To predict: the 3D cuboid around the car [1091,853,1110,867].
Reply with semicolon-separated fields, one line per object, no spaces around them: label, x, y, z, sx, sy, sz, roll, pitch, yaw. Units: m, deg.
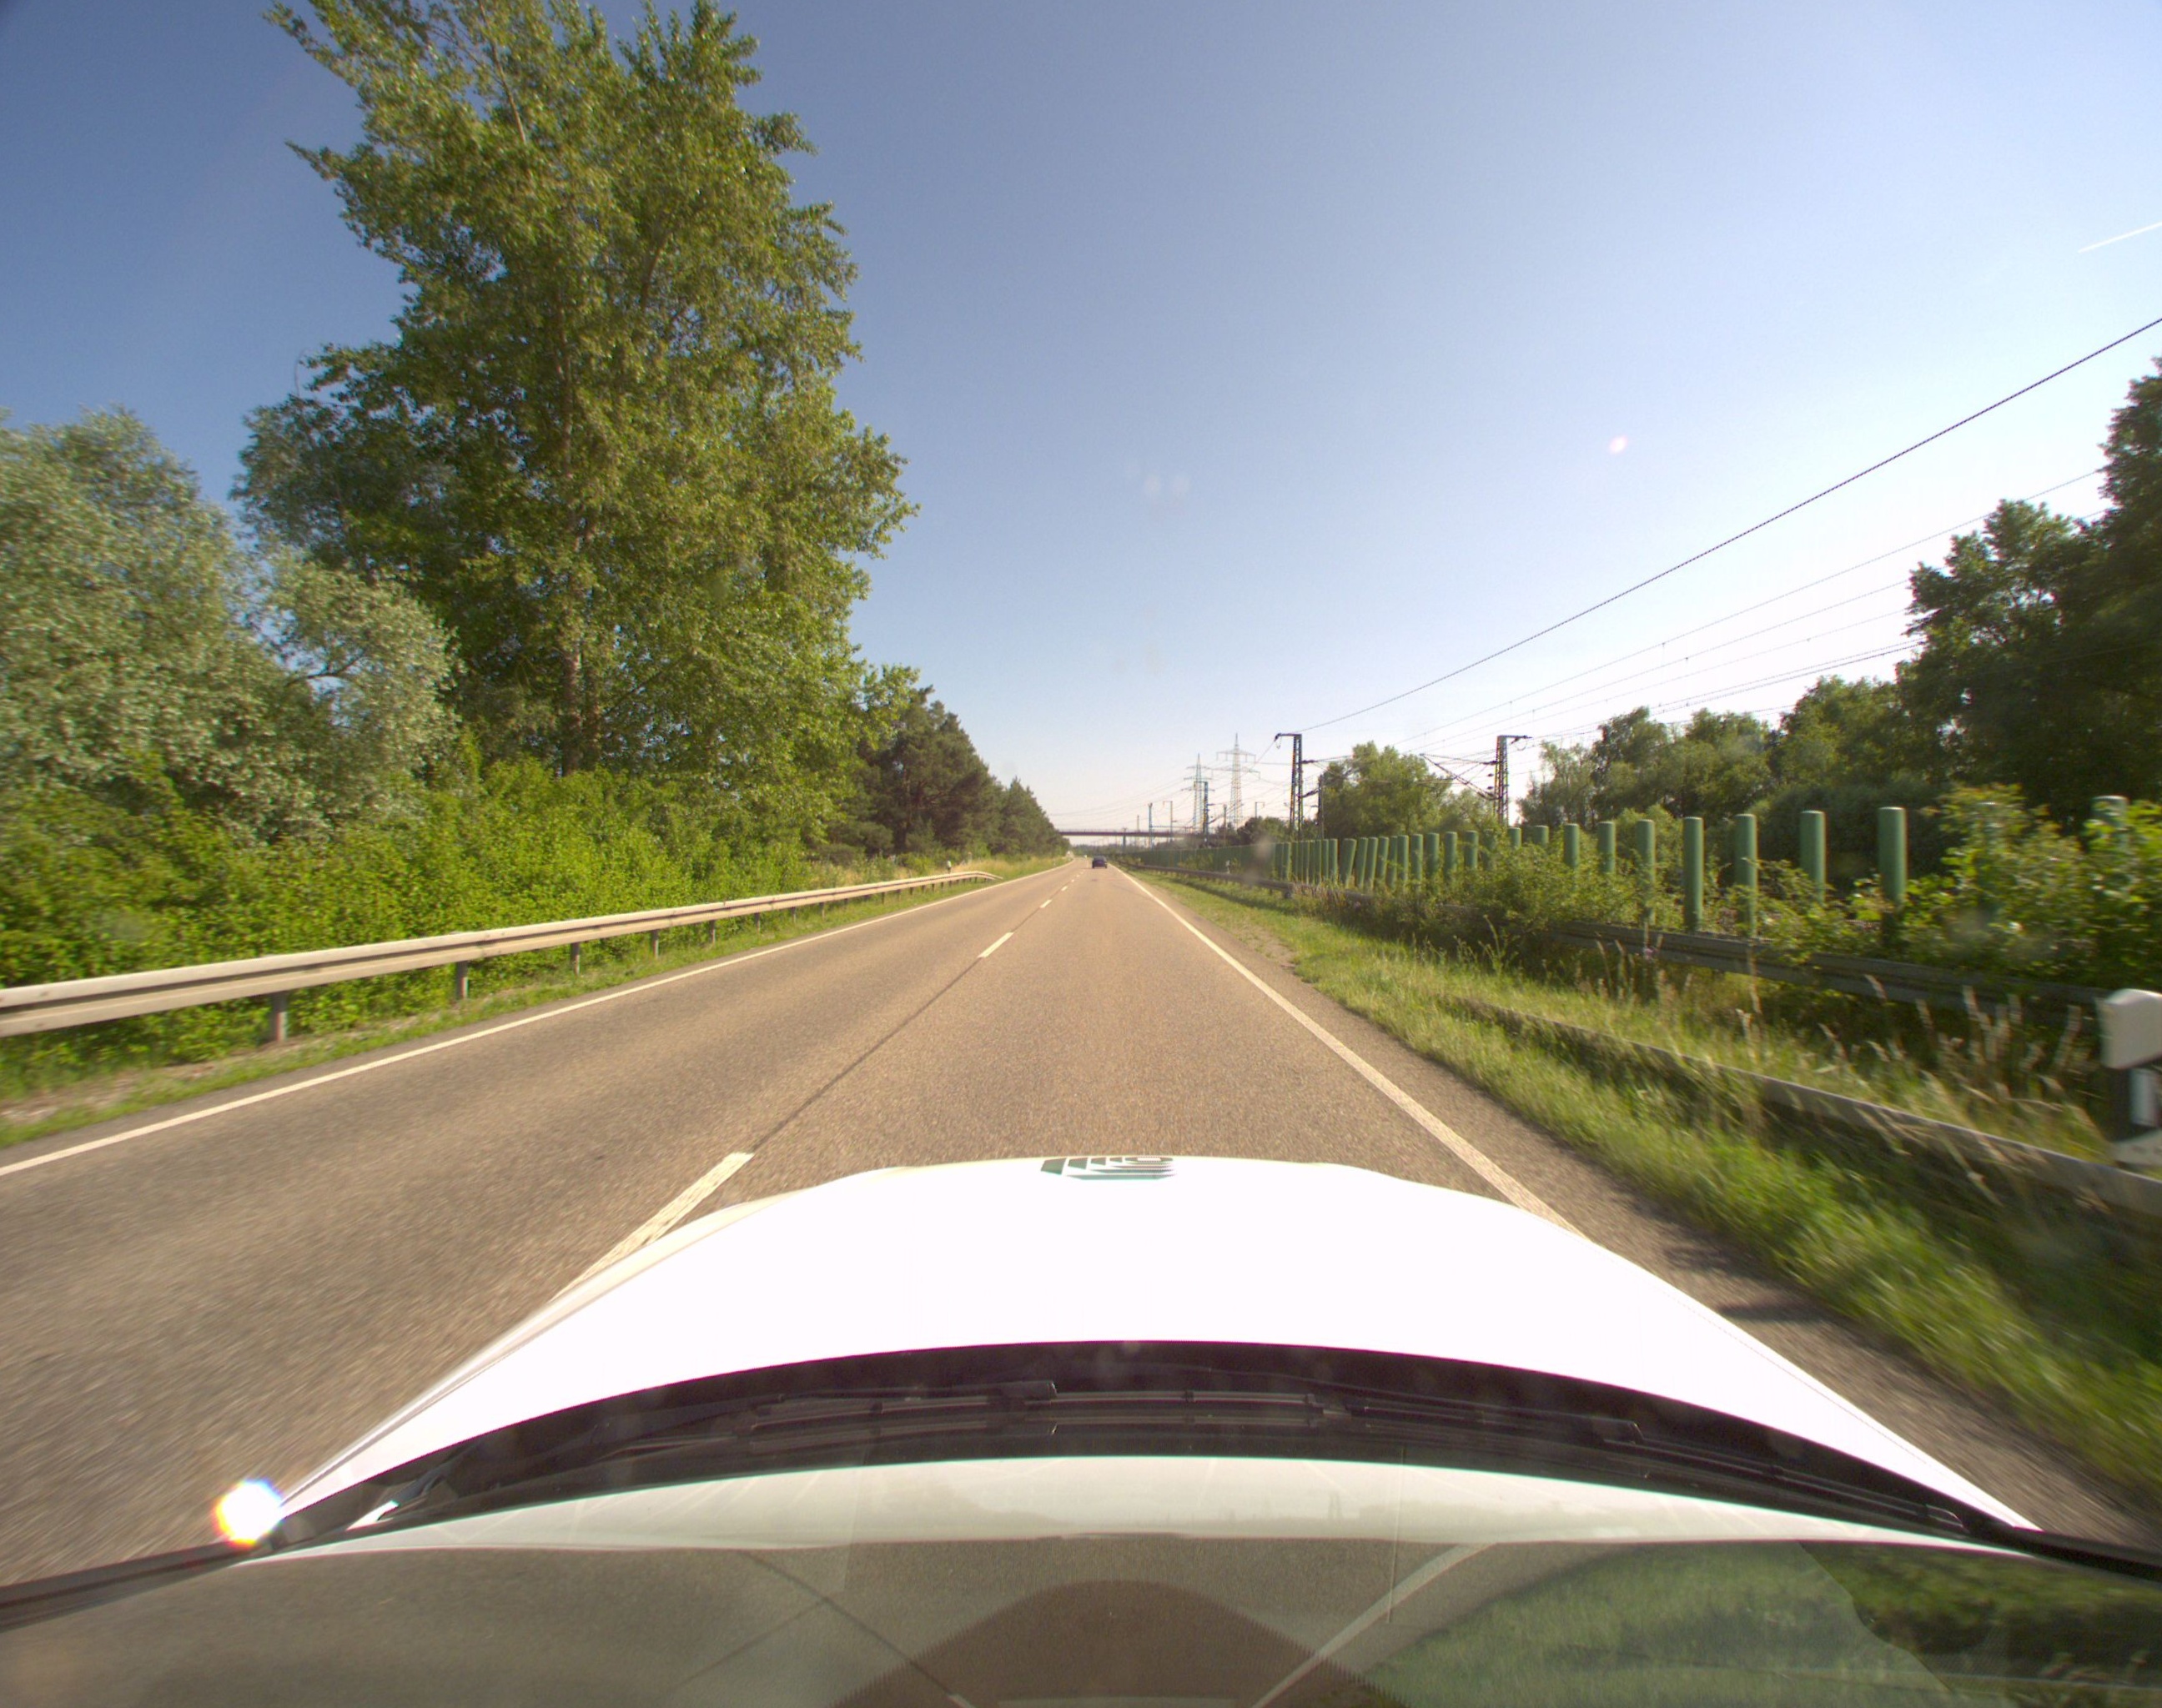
car;2.326;0.754;99.244;1.855;1.642;3.994;-2;0;-4
